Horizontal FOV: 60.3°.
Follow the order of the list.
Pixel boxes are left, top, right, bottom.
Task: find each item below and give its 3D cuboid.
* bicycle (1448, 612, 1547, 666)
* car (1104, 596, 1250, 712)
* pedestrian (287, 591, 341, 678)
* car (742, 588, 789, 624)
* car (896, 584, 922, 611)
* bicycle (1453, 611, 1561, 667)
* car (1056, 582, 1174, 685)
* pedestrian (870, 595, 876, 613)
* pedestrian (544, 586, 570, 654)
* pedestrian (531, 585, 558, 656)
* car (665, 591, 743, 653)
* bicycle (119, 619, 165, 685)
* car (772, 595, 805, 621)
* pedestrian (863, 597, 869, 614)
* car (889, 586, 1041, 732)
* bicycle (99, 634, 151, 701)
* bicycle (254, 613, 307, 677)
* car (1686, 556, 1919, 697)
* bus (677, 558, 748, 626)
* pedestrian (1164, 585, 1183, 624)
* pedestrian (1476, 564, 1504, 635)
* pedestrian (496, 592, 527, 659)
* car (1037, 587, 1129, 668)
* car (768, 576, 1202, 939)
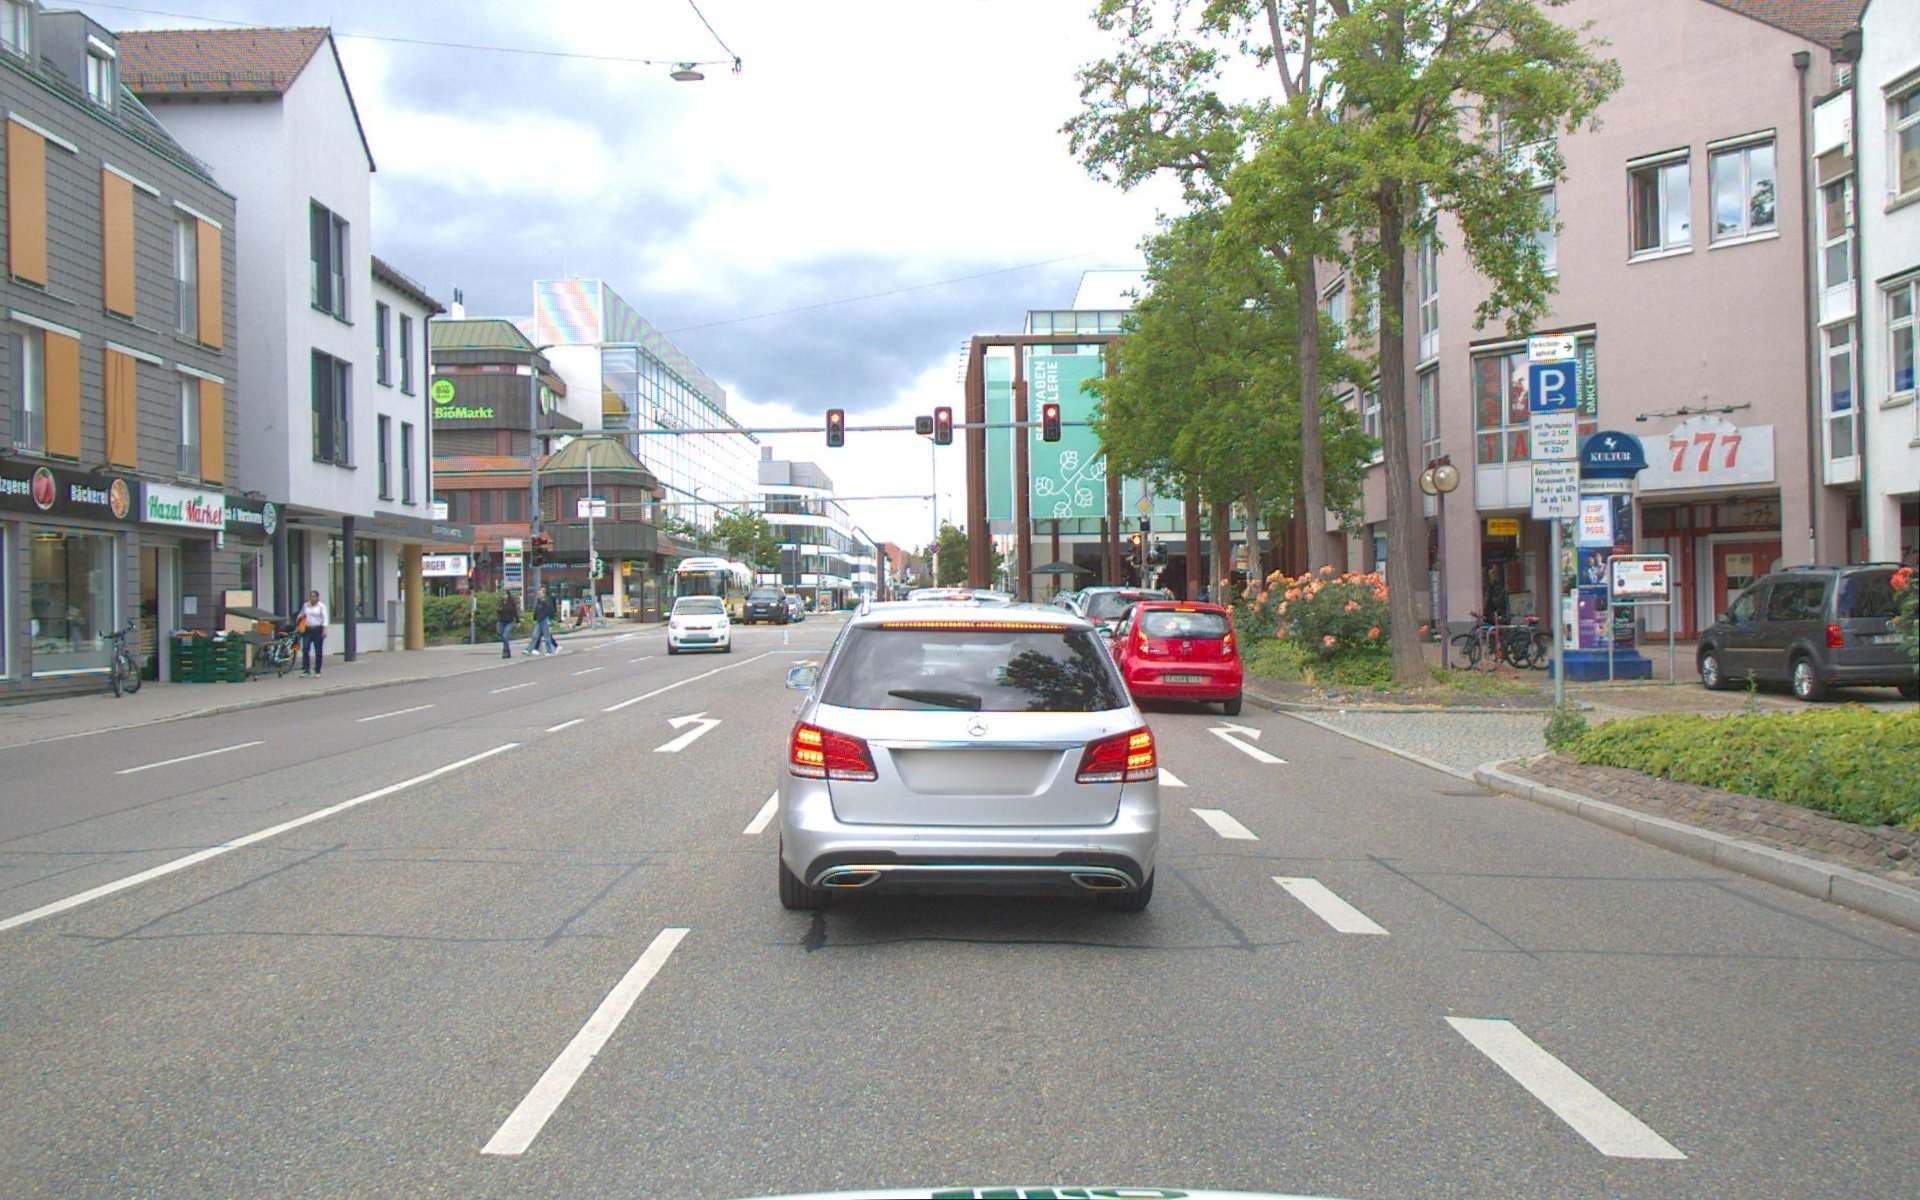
[{"bbox_3d":[10.269,0.743,31.622,1.731,1.014,0.447,-1,0,4],"label":"bicycle"},{"bbox_3d":[2.948,0.693,23.054,1.554,1.468,3.348,1,0,-1],"label":"car"},{"bbox_3d":[-12.309,0.648,31.548,0.713,1.638,0.753,-1,0,-1],"label":"pedestrian"},{"bbox_3d":[-9.779,0.298,83.399,1.953,1.735,4.063,0,0,-2],"label":"car"},{"bbox_3d":[-3.842,-0.177,124.934,1.953,1.983,4.949,0,0,-2],"label":"car"},{"bbox_3d":[10.264,0.724,31.075,1.861,1.014,0.468,-1,0,4],"label":"bicycle"},{"bbox_3d":[2.651,0.547,29.090,1.555,1.662,3.915,1,0,-2],"label":"car"},{"bbox_3d":[-8.723,0.386,165.474,0.508,1.764,0.489,-1,0,13],"label":"pedestrian"},{"bbox_3d":[-10.830,0.544,44.455,0.635,1.806,0.567,-1,0,-19],"label":"pedestrian"},{"bbox_3d":[-10.817,0.523,43.088,0.635,1.821,0.682,-1,0,-11],"label":"pedestrian"},{"bbox_3d":[-6.692,0.541,43.536,1.542,1.514,3.463,-2,0,-1],"label":"car"},{"bbox_3d":[-14.765,0.927,29.880,0.379,1.147,1.287,-1,0,-10],"label":"bicycle"},{"bbox_3d":[-9.403,0.422,90.971,1.524,1.417,3.287,0,0,-2],"label":"car"},{"bbox_3d":[-9.371,0.545,164.900,0.508,1.764,0.489,-1,0,14],"label":"pedestrian"},{"bbox_3d":[0.035,0.623,19.361,1.606,1.554,3.393,0,0,-1],"label":"car"},{"bbox_3d":[-12.985,1.031,25.749,0.320,0.970,1.479,-1,0,-11],"label":"bicycle"},{"bbox_3d":[-13.380,0.873,32.599,0.378,1.207,1.825,-1,0,-4],"label":"bicycle"},{"bbox_3d":[12.486,0.338,24.303,1.605,1.863,3.963,-2,1,-5],"label":"car"},{"bbox_3d":[-12.799,-0.413,86.226,2.632,3.318,8.650,0,0,-2],"label":"bus"},{"bbox_3d":[9.239,0.195,71.732,0.641,1.679,0.557,-1,0,-15],"label":"pedestrian"},{"bbox_3d":[14.007,-0.014,43.705,0.637,1.866,0.610,-1,0,22],"label":"pedestrian"},{"bbox_3d":[-11.306,0.641,41.674,0.639,1.679,0.559,-1,0,-4],"label":"pedestrian"},{"bbox_3d":[2.631,0.559,35.960,1.555,1.623,3.866,1,0,-2],"label":"car"},{"bbox_3d":[0.094,0.655,9.051,1.778,1.474,4.369,1,0,0],"label":"car"}]
